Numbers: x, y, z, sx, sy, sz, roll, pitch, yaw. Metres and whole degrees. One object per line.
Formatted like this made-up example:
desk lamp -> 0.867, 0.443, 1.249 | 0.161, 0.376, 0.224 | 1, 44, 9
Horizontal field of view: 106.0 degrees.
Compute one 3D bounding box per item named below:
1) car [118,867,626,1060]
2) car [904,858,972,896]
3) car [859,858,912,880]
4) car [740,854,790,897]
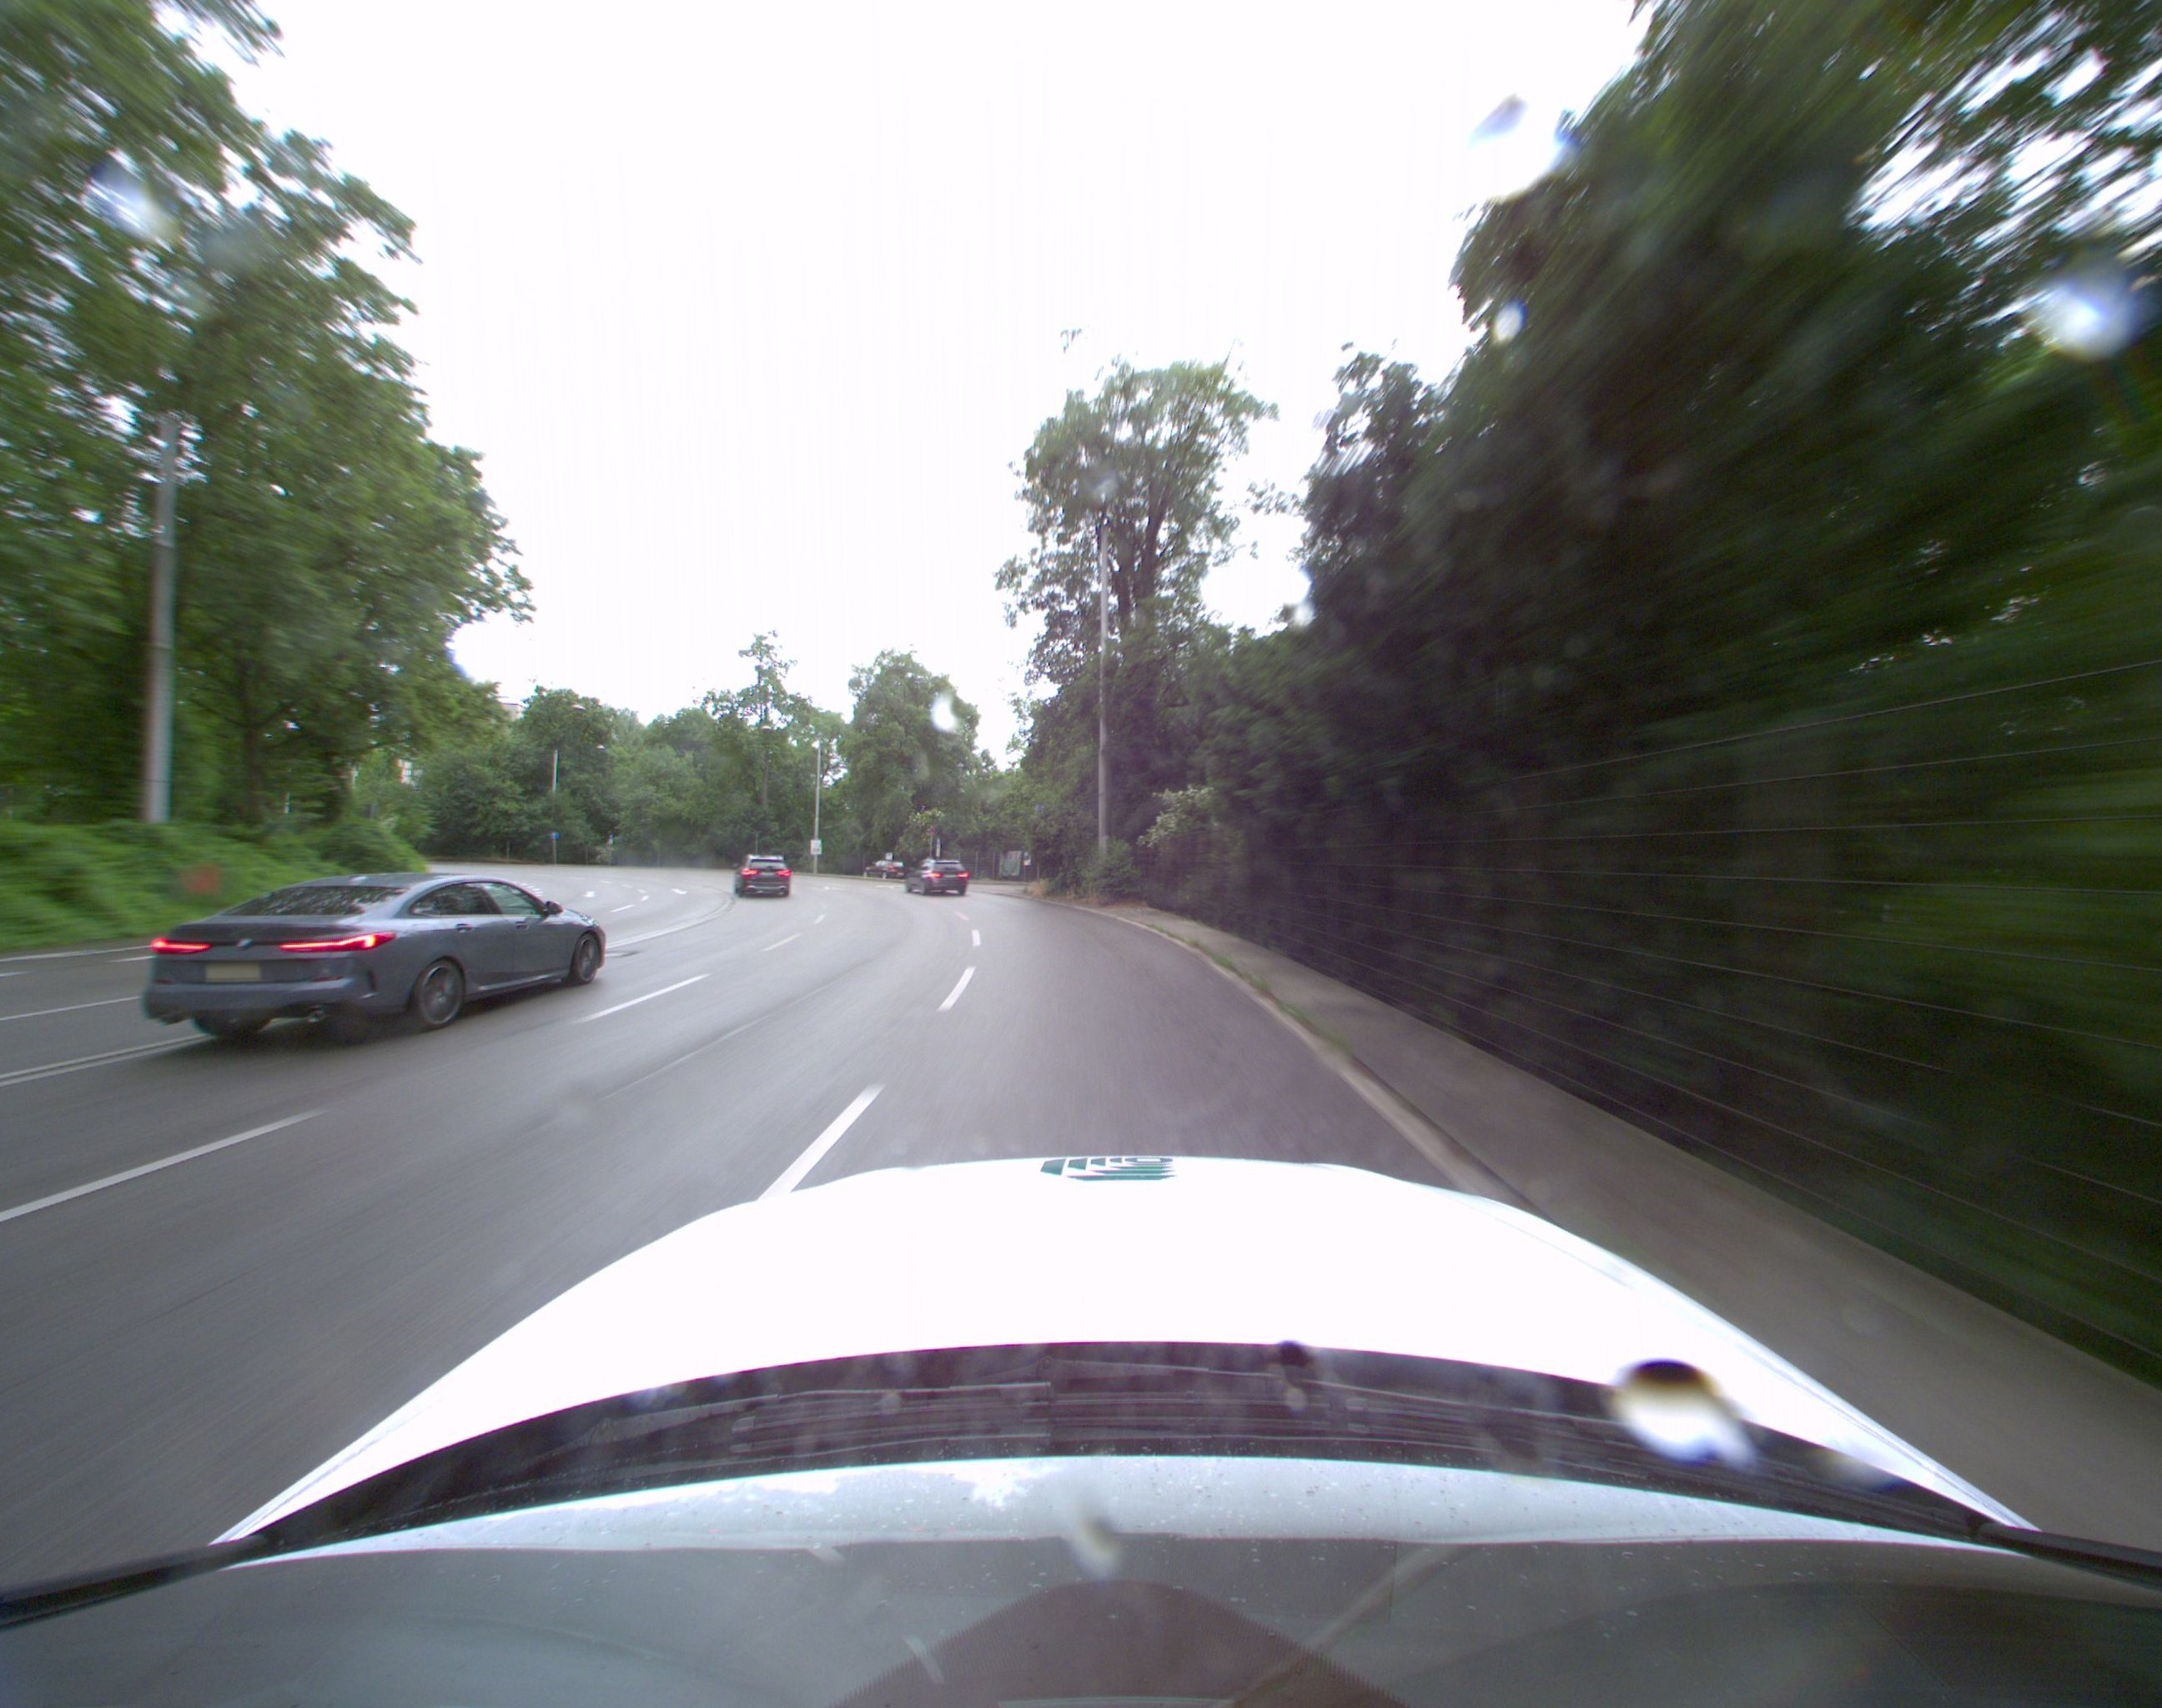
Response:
car -> -6.762, 0.882, 8.605 | 1.662, 1.415, 4.531 | 0, 0, -5
car -> -6.105, 0.932, 34.375 | 1.766, 1.432, 4.376 | -1, 0, -24
car -> -14.364, 1.091, 59.742 | 4.317, 1.427, 1.702 | 1, -3, 45
car -> -12.823, 0.824, 33.024 | 1.764, 1.586, 4.381 | 0, 0, -22
